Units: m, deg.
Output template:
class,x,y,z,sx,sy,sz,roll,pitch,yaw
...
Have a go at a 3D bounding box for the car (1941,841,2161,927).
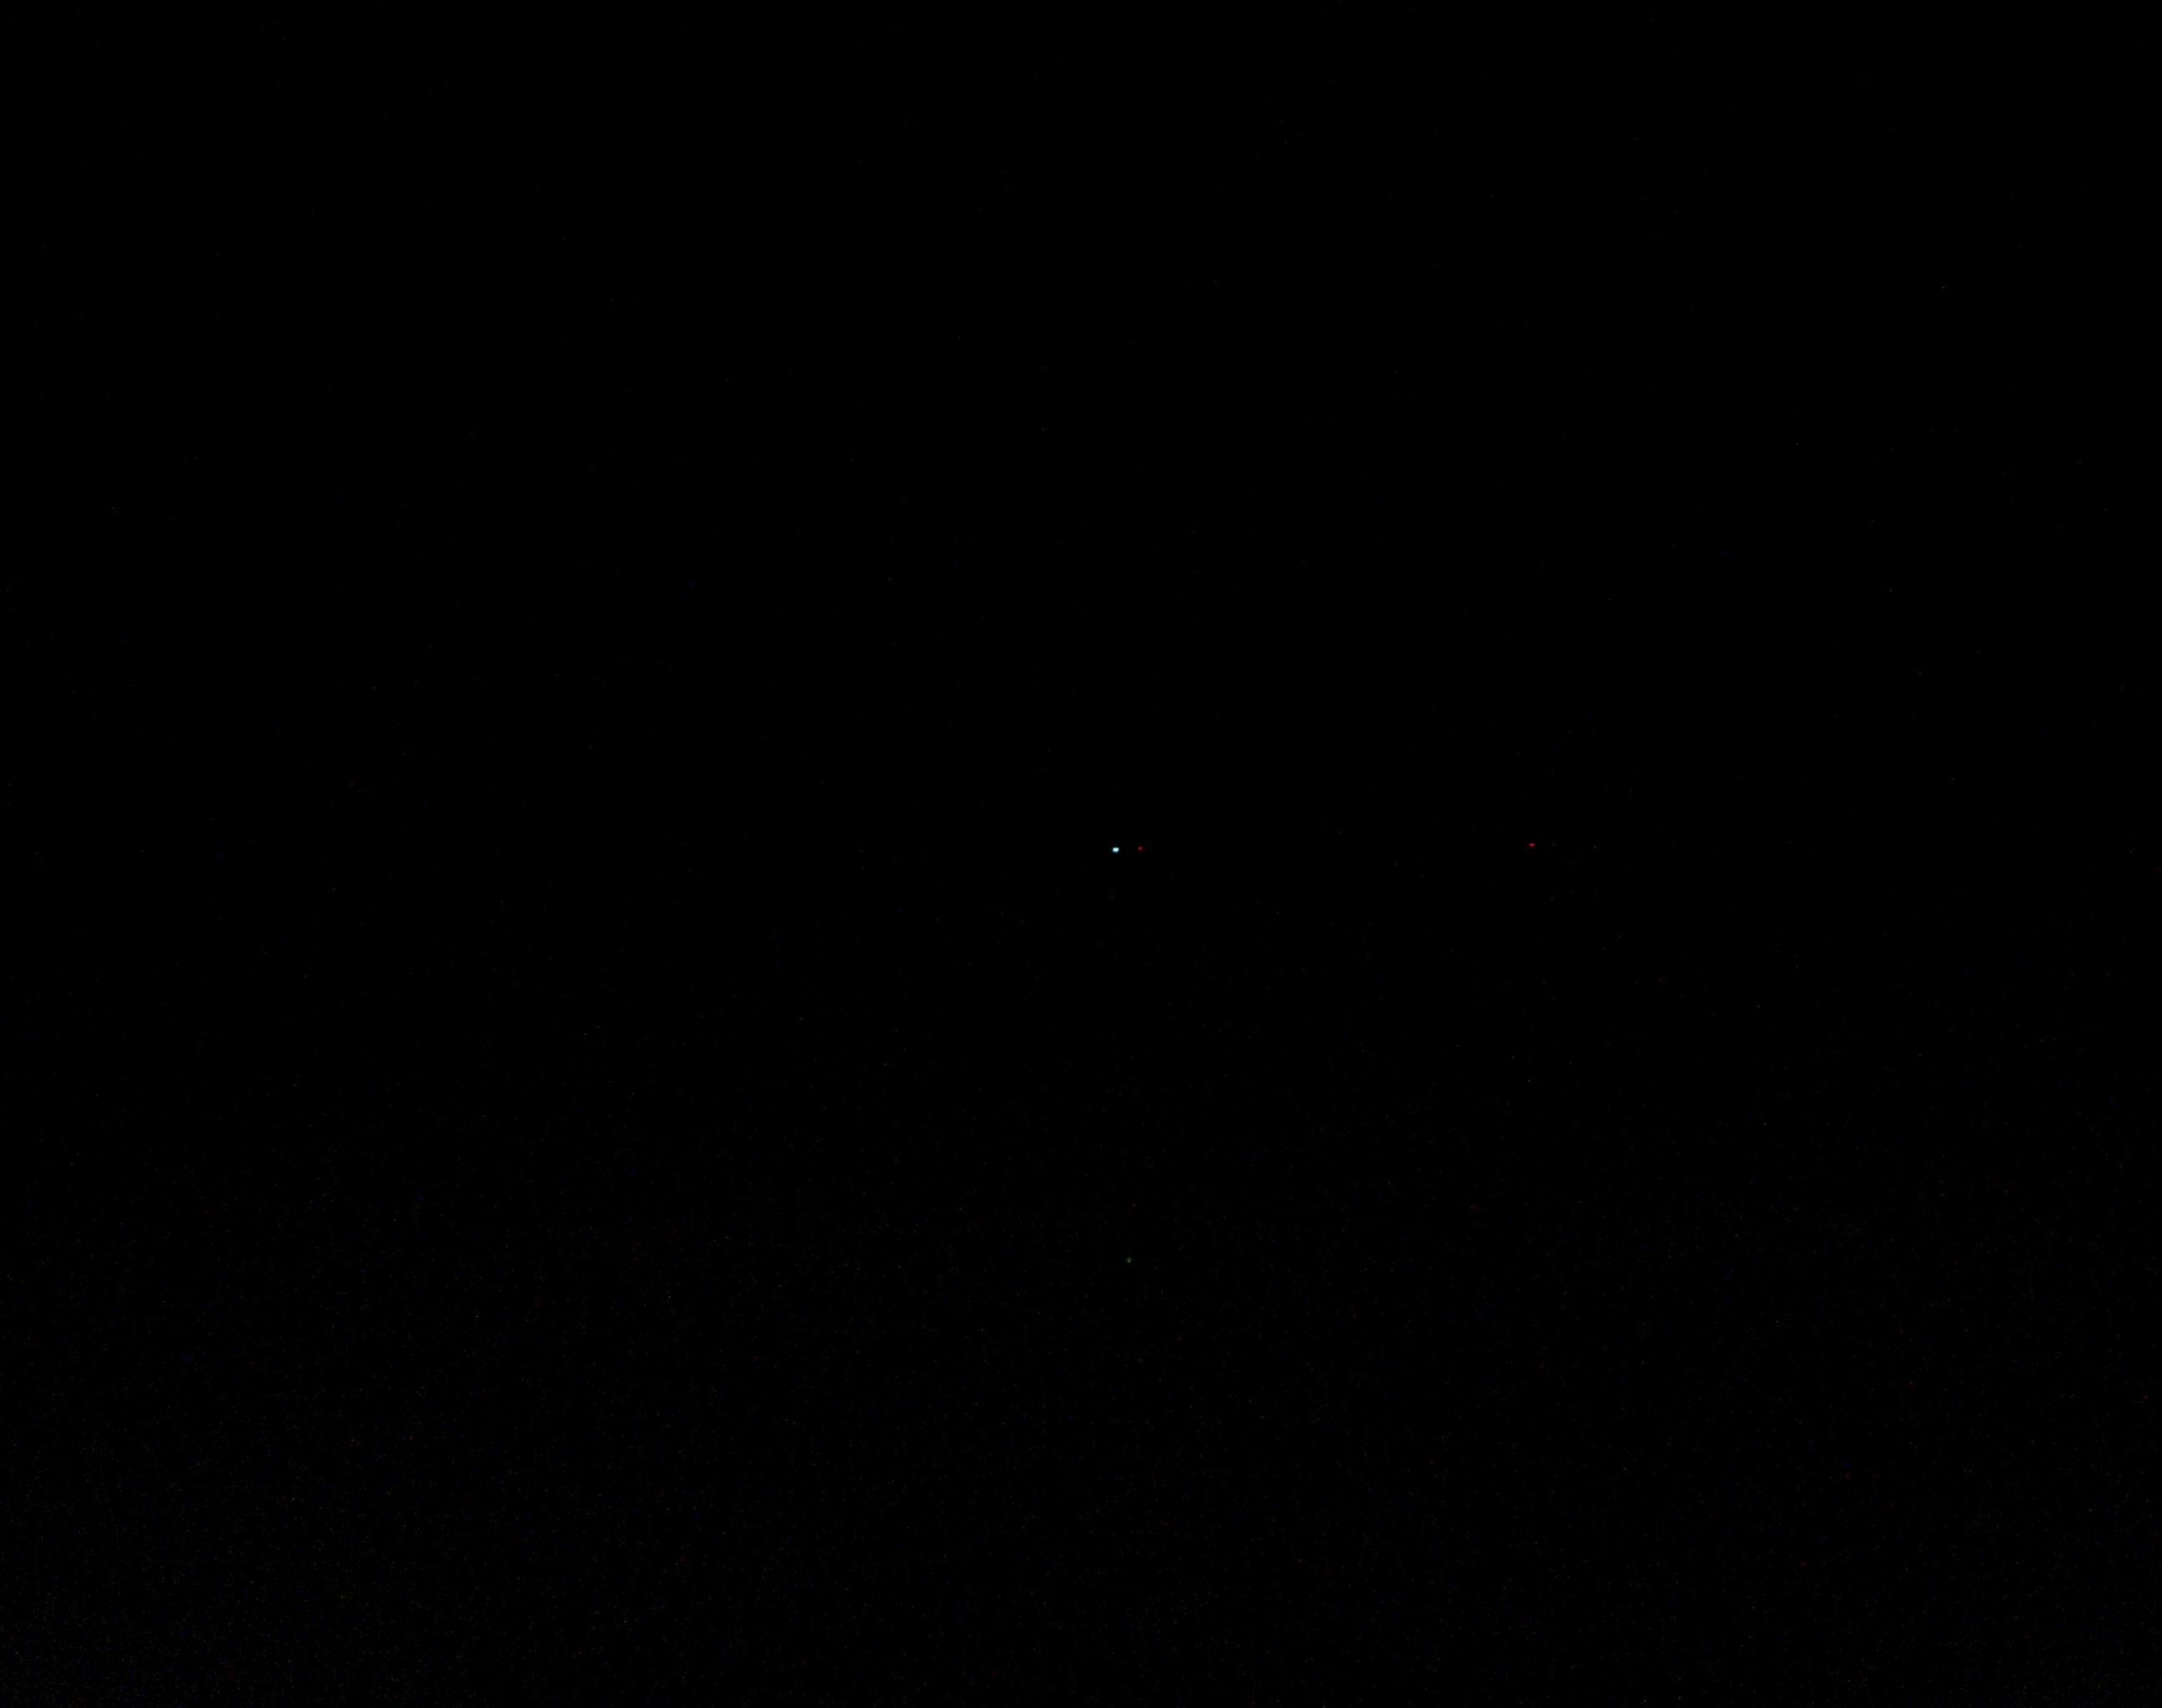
class,x,y,z,sx,sy,sz,roll,pitch,yaw
car,21.036,0.527,15.707,1.998,1.510,3.999,-2,2,1
